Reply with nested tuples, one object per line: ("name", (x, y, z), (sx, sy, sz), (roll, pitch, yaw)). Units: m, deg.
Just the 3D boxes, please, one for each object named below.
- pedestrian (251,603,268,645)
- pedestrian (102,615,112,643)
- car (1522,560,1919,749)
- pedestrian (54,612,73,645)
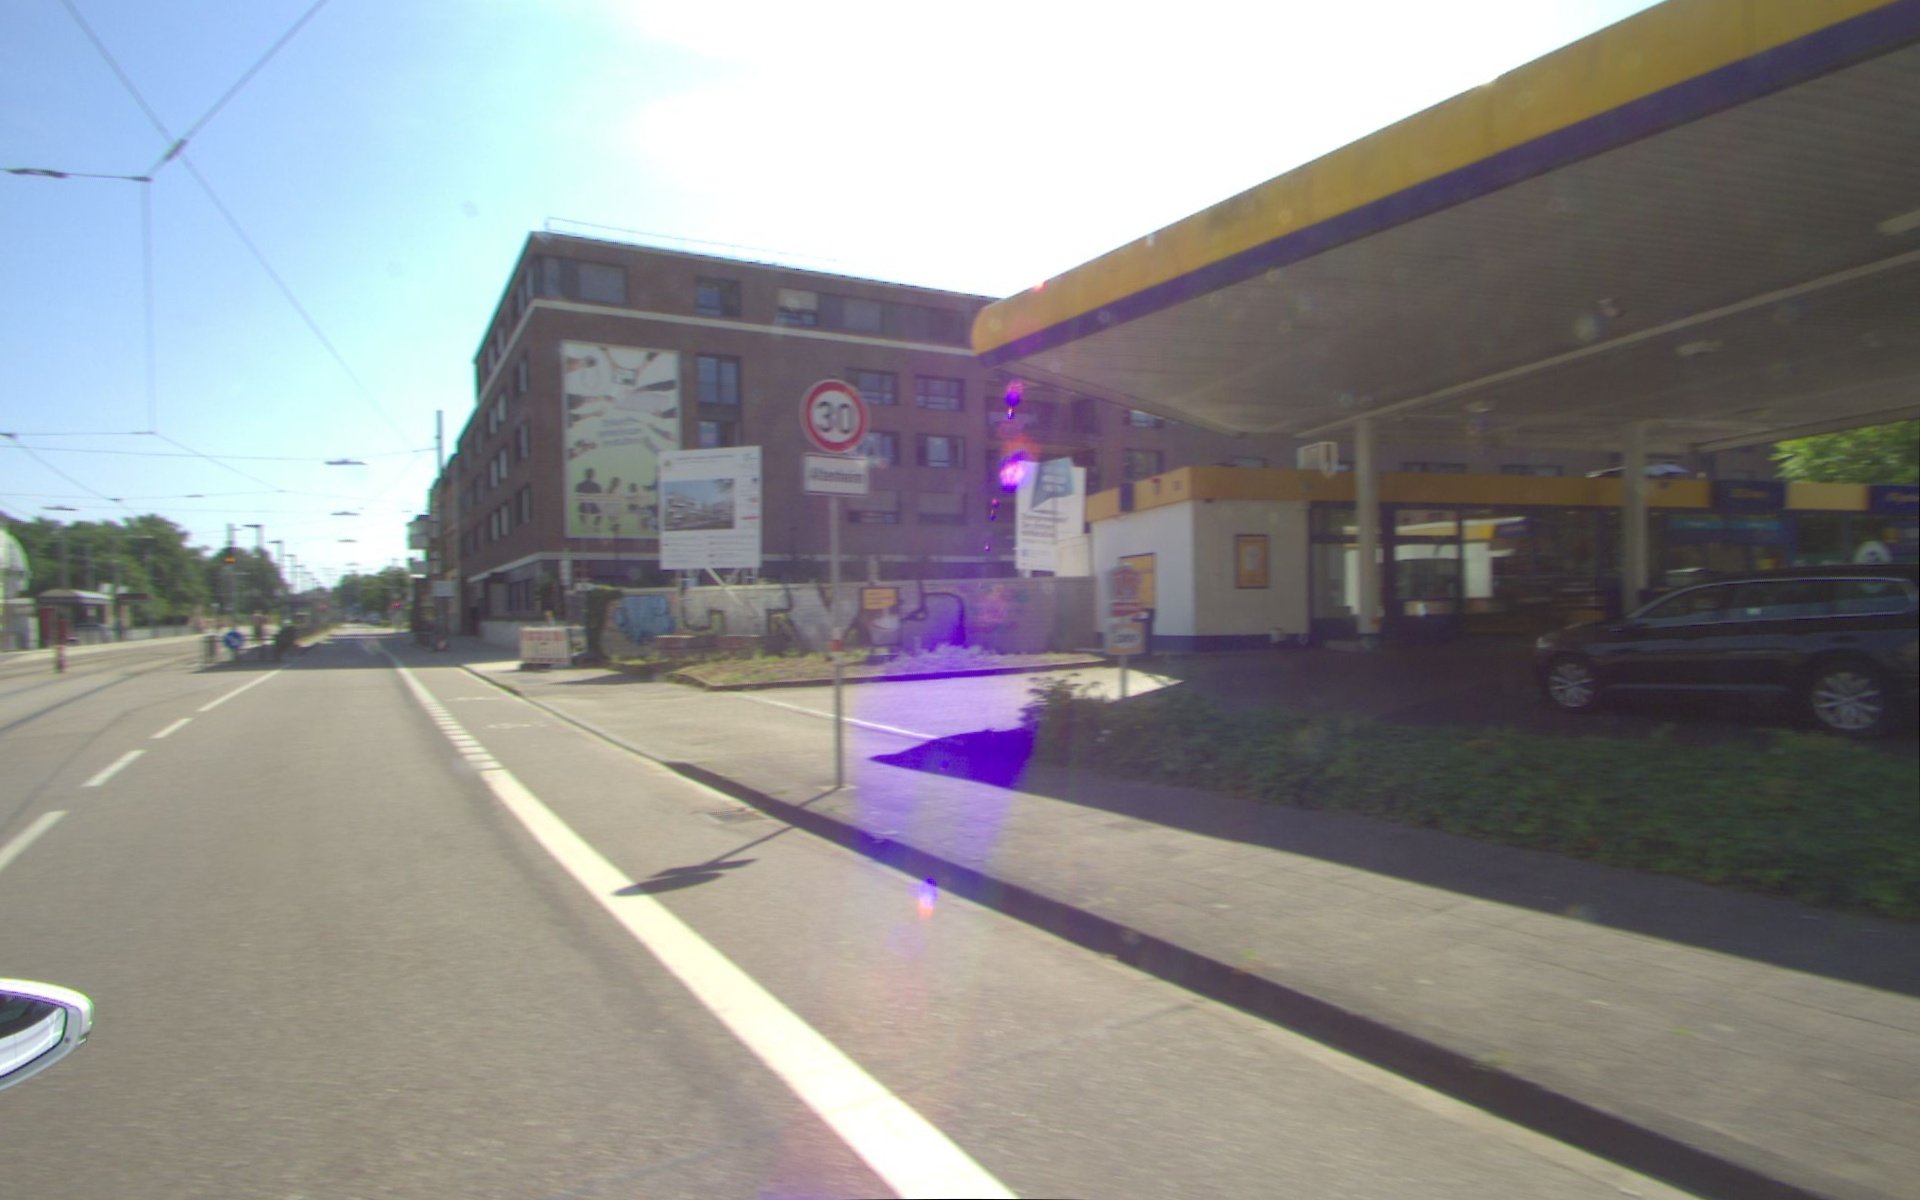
("pedestrian", (-30.474, 1.029, 43.567), (0.551, 1.783, 0.787), (-2, 1, -38))
("pedestrian", (-52.773, 1.779, 61.934), (0.700, 1.712, 0.412), (0, 1, 45))
("car", (8.003, 0.436, 9.793), (1.729, 1.474, 4.404), (-4, 0, -15))
("pedestrian", (-47.141, 1.503, 52.667), (0.699, 1.712, 0.413), (-1, 1, -40))
